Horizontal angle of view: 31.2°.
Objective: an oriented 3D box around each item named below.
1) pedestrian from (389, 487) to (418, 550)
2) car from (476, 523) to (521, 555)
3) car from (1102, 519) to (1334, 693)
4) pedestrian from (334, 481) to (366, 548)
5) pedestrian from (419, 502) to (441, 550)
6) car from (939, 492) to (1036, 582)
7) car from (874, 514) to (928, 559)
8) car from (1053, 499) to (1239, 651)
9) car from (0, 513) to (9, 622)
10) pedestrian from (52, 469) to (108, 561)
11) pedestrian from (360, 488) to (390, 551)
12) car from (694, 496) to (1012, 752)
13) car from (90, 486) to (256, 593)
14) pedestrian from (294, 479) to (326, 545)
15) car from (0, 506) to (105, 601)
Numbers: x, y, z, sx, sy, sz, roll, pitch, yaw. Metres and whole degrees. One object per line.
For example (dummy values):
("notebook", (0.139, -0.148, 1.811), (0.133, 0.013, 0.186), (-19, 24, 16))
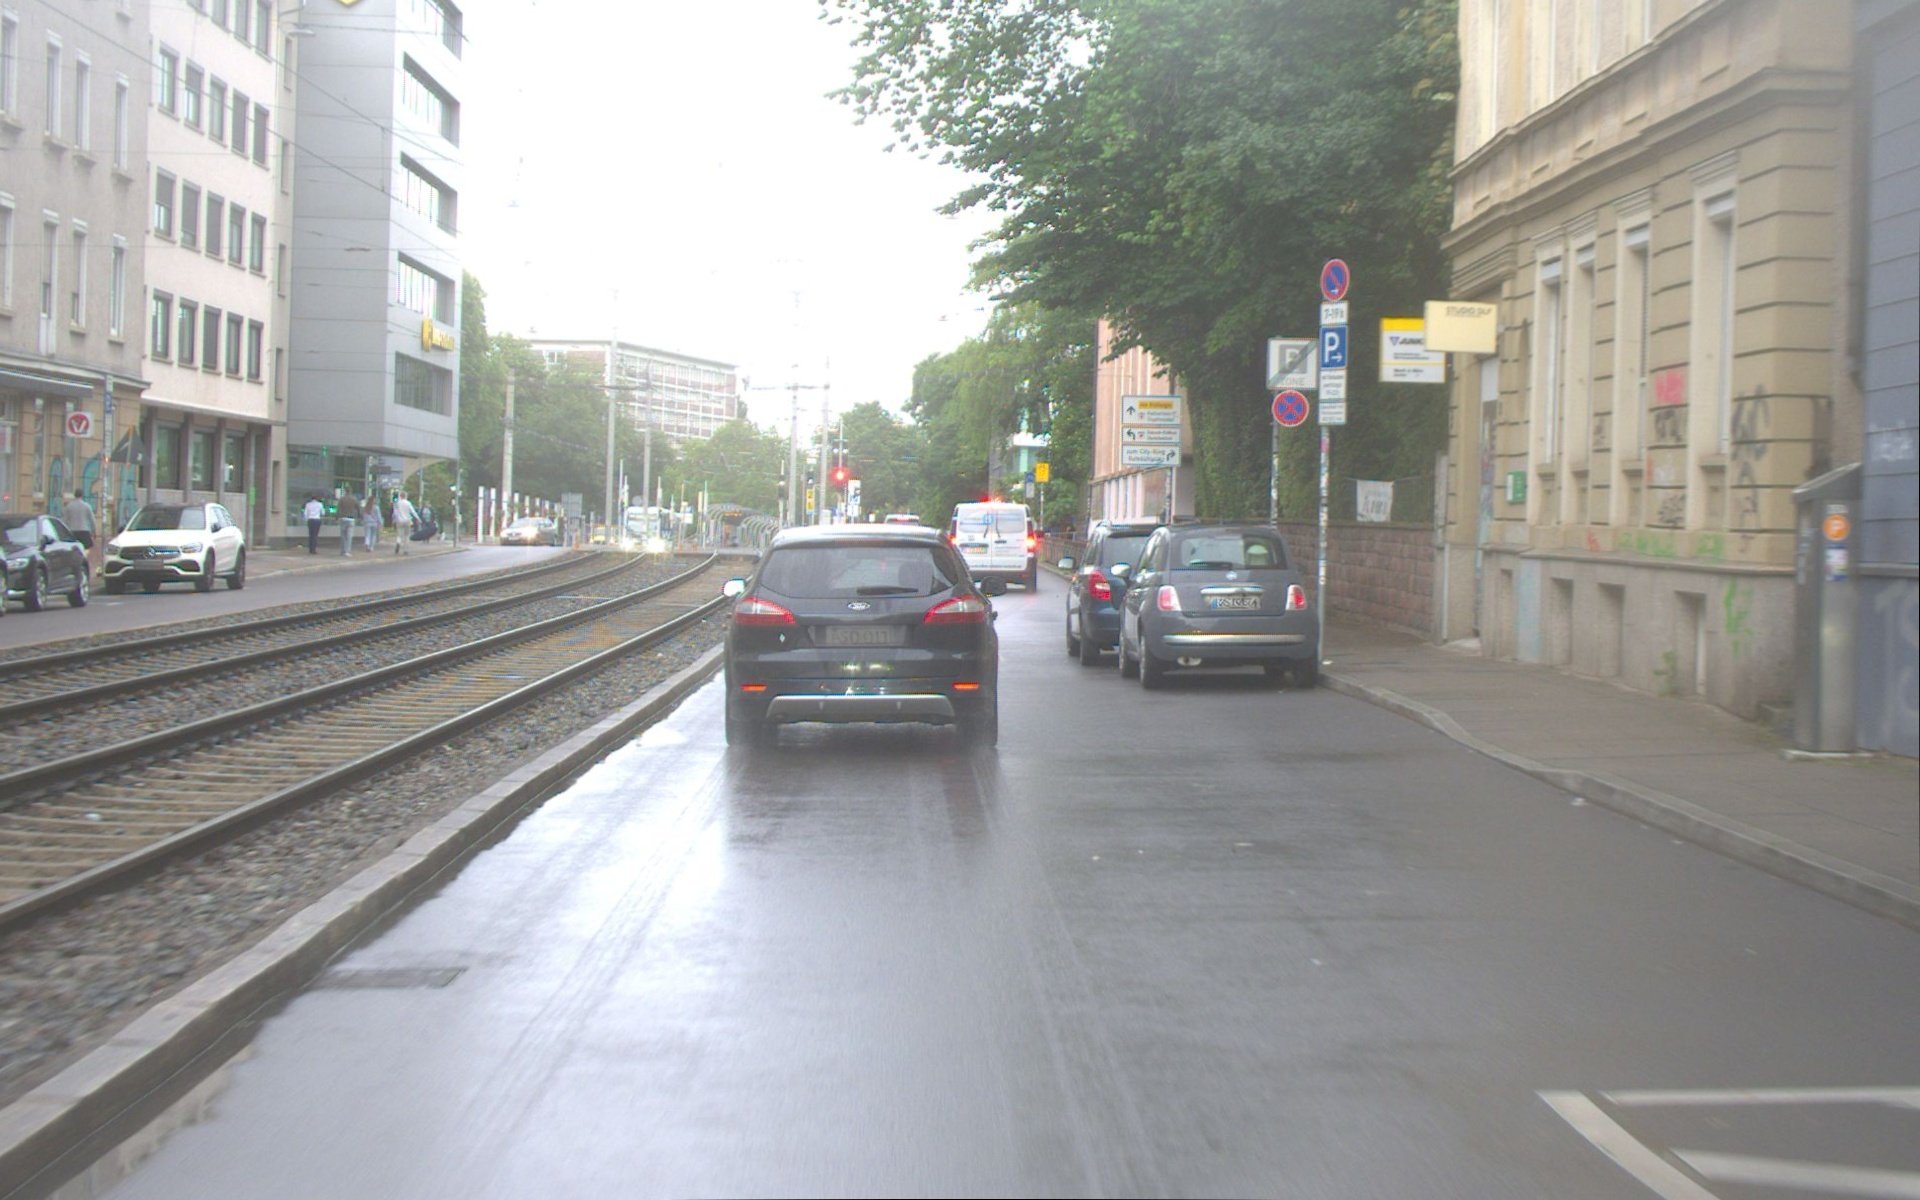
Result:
("pedestrian", (-16.837, -2.466, 104.057), (0.744, 1.847, 0.839), (1, -1, -1))
("car", (-21.825, -2.885, 162.411), (1.993, 1.437, 4.001), (2, 1, -9))
("car", (2.362, 0.009, 32.342), (1.738, 1.484, 4.001), (2, 1, -1))
("pedestrian", (-17.360, -2.432, 97.902), (0.744, 1.847, 0.839), (1, -1, -1))
("pedestrian", (-21.144, -2.951, 137.164), (0.744, 1.847, 0.839), (1, -1, -1))
("car", (0.565, -1.316, 73.622), (1.993, 1.810, 4.271), (1, 0, 0))
("car", (-2.235, -2.413, 131.300), (1.993, 1.588, 4.271), (1, 0, 0))
("car", (1.957, -0.304, 37.183), (1.642, 1.510, 4.039), (2, 1, -1))
("car", (-14.308, -0.464, 45.806), (1.993, 1.514, 4.676), (2, 1, -1))
("pedestrian", (-16.884, -1.625, 65.974), (0.801, 1.744, 0.984), (2, 1, -1))
("pedestrian", (-17.713, -2.434, 104.042), (0.744, 1.847, 0.839), (1, -1, -1))
("car", (-0.688, 0.156, 23.967), (1.993, 1.588, 4.271), (1, 0, 0))
("car", (-14.506, -1.109, 63.619), (1.993, 1.833, 5.071), (2, 1, -2))
("pedestrian", (-18.483, -2.496, 97.779), (0.744, 1.847, 0.839), (1, -1, -1))
("car", (-14.544, -0.734, 52.384), (1.993, 1.371, 4.238), (2, 1, -1))
